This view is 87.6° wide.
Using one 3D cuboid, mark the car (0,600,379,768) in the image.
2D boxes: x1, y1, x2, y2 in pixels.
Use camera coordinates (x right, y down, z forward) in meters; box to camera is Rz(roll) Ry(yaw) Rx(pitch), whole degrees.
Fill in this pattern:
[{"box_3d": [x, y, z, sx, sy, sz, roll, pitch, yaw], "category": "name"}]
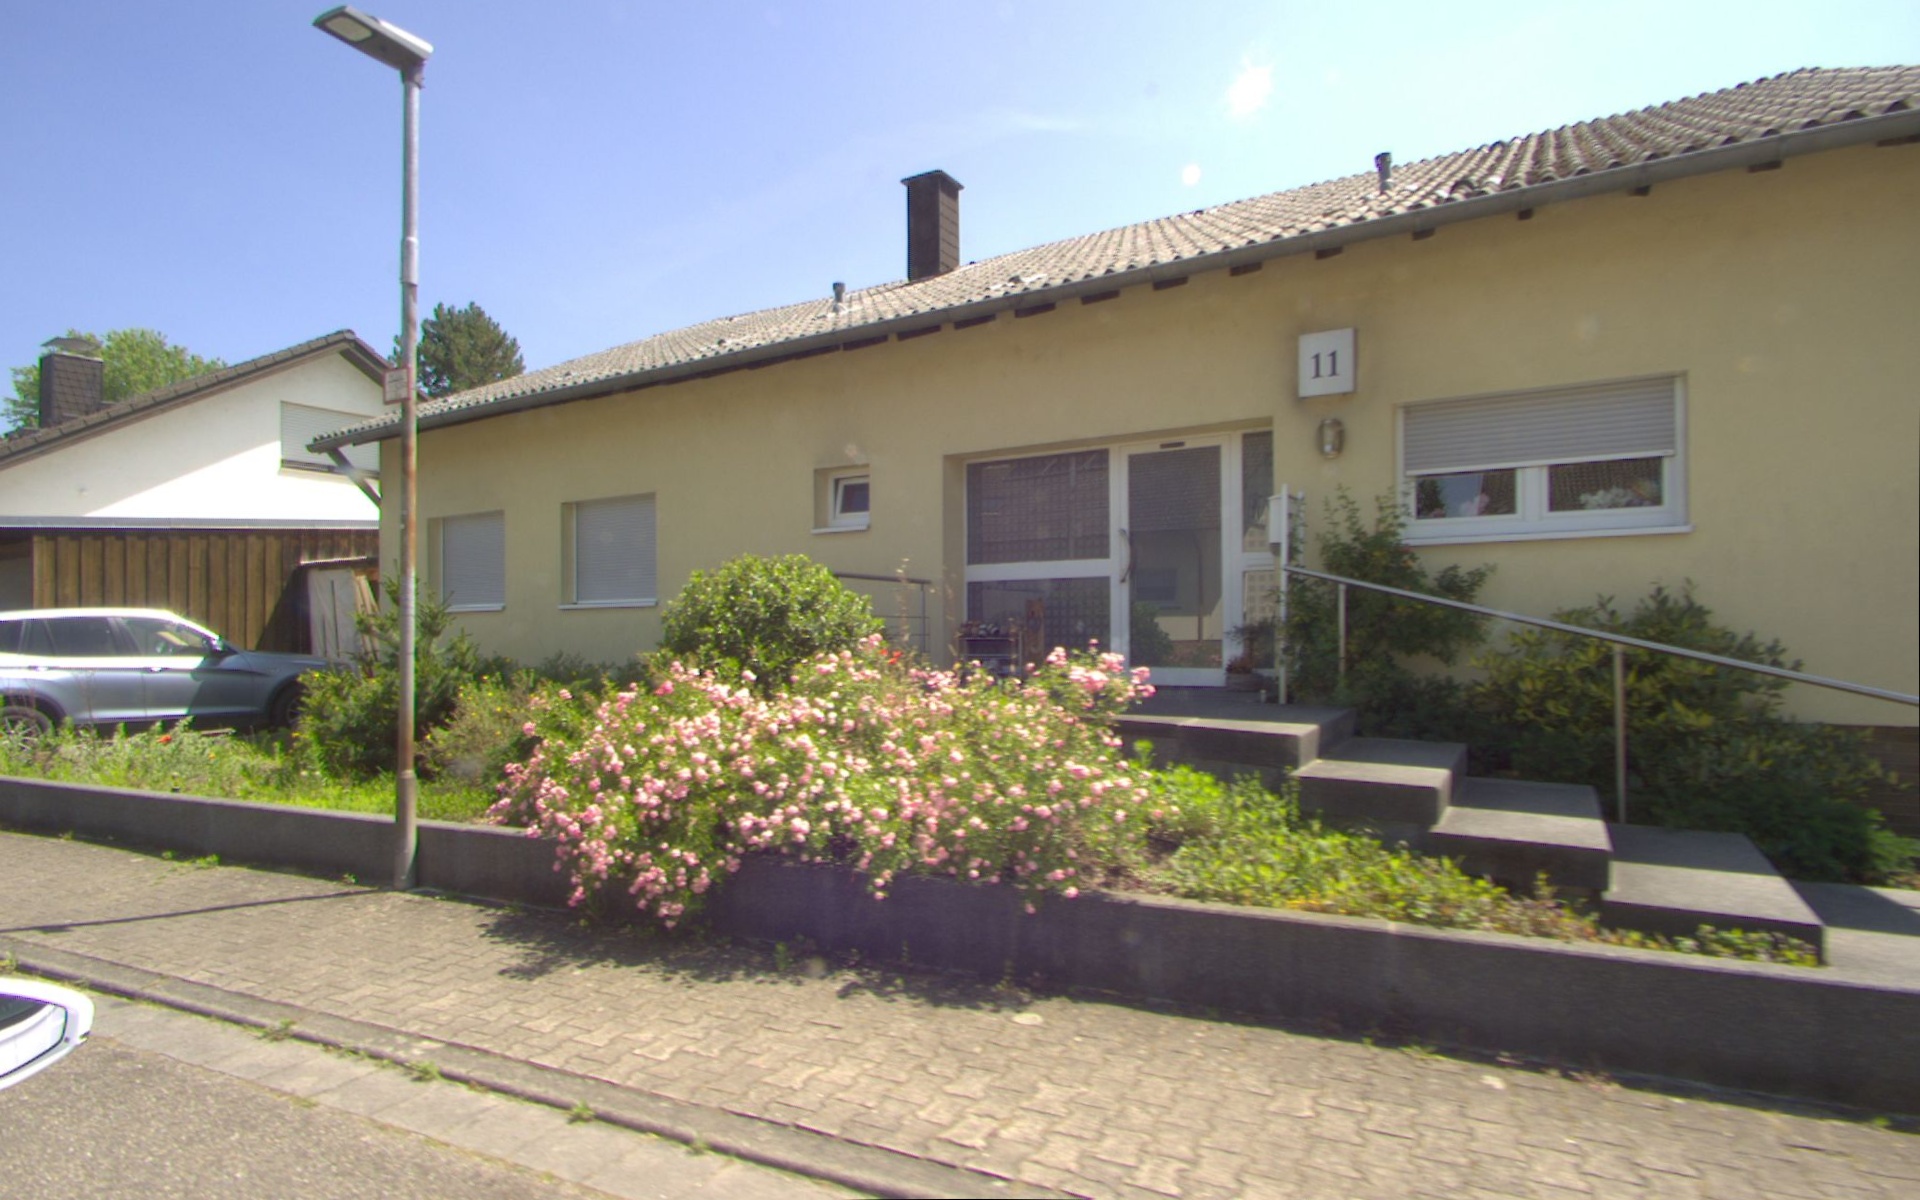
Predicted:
[{"box_3d": [-9.790, 0.884, 11.999, 1.686, 1.724, 4.615, -1, 0, 34], "category": "car"}]
